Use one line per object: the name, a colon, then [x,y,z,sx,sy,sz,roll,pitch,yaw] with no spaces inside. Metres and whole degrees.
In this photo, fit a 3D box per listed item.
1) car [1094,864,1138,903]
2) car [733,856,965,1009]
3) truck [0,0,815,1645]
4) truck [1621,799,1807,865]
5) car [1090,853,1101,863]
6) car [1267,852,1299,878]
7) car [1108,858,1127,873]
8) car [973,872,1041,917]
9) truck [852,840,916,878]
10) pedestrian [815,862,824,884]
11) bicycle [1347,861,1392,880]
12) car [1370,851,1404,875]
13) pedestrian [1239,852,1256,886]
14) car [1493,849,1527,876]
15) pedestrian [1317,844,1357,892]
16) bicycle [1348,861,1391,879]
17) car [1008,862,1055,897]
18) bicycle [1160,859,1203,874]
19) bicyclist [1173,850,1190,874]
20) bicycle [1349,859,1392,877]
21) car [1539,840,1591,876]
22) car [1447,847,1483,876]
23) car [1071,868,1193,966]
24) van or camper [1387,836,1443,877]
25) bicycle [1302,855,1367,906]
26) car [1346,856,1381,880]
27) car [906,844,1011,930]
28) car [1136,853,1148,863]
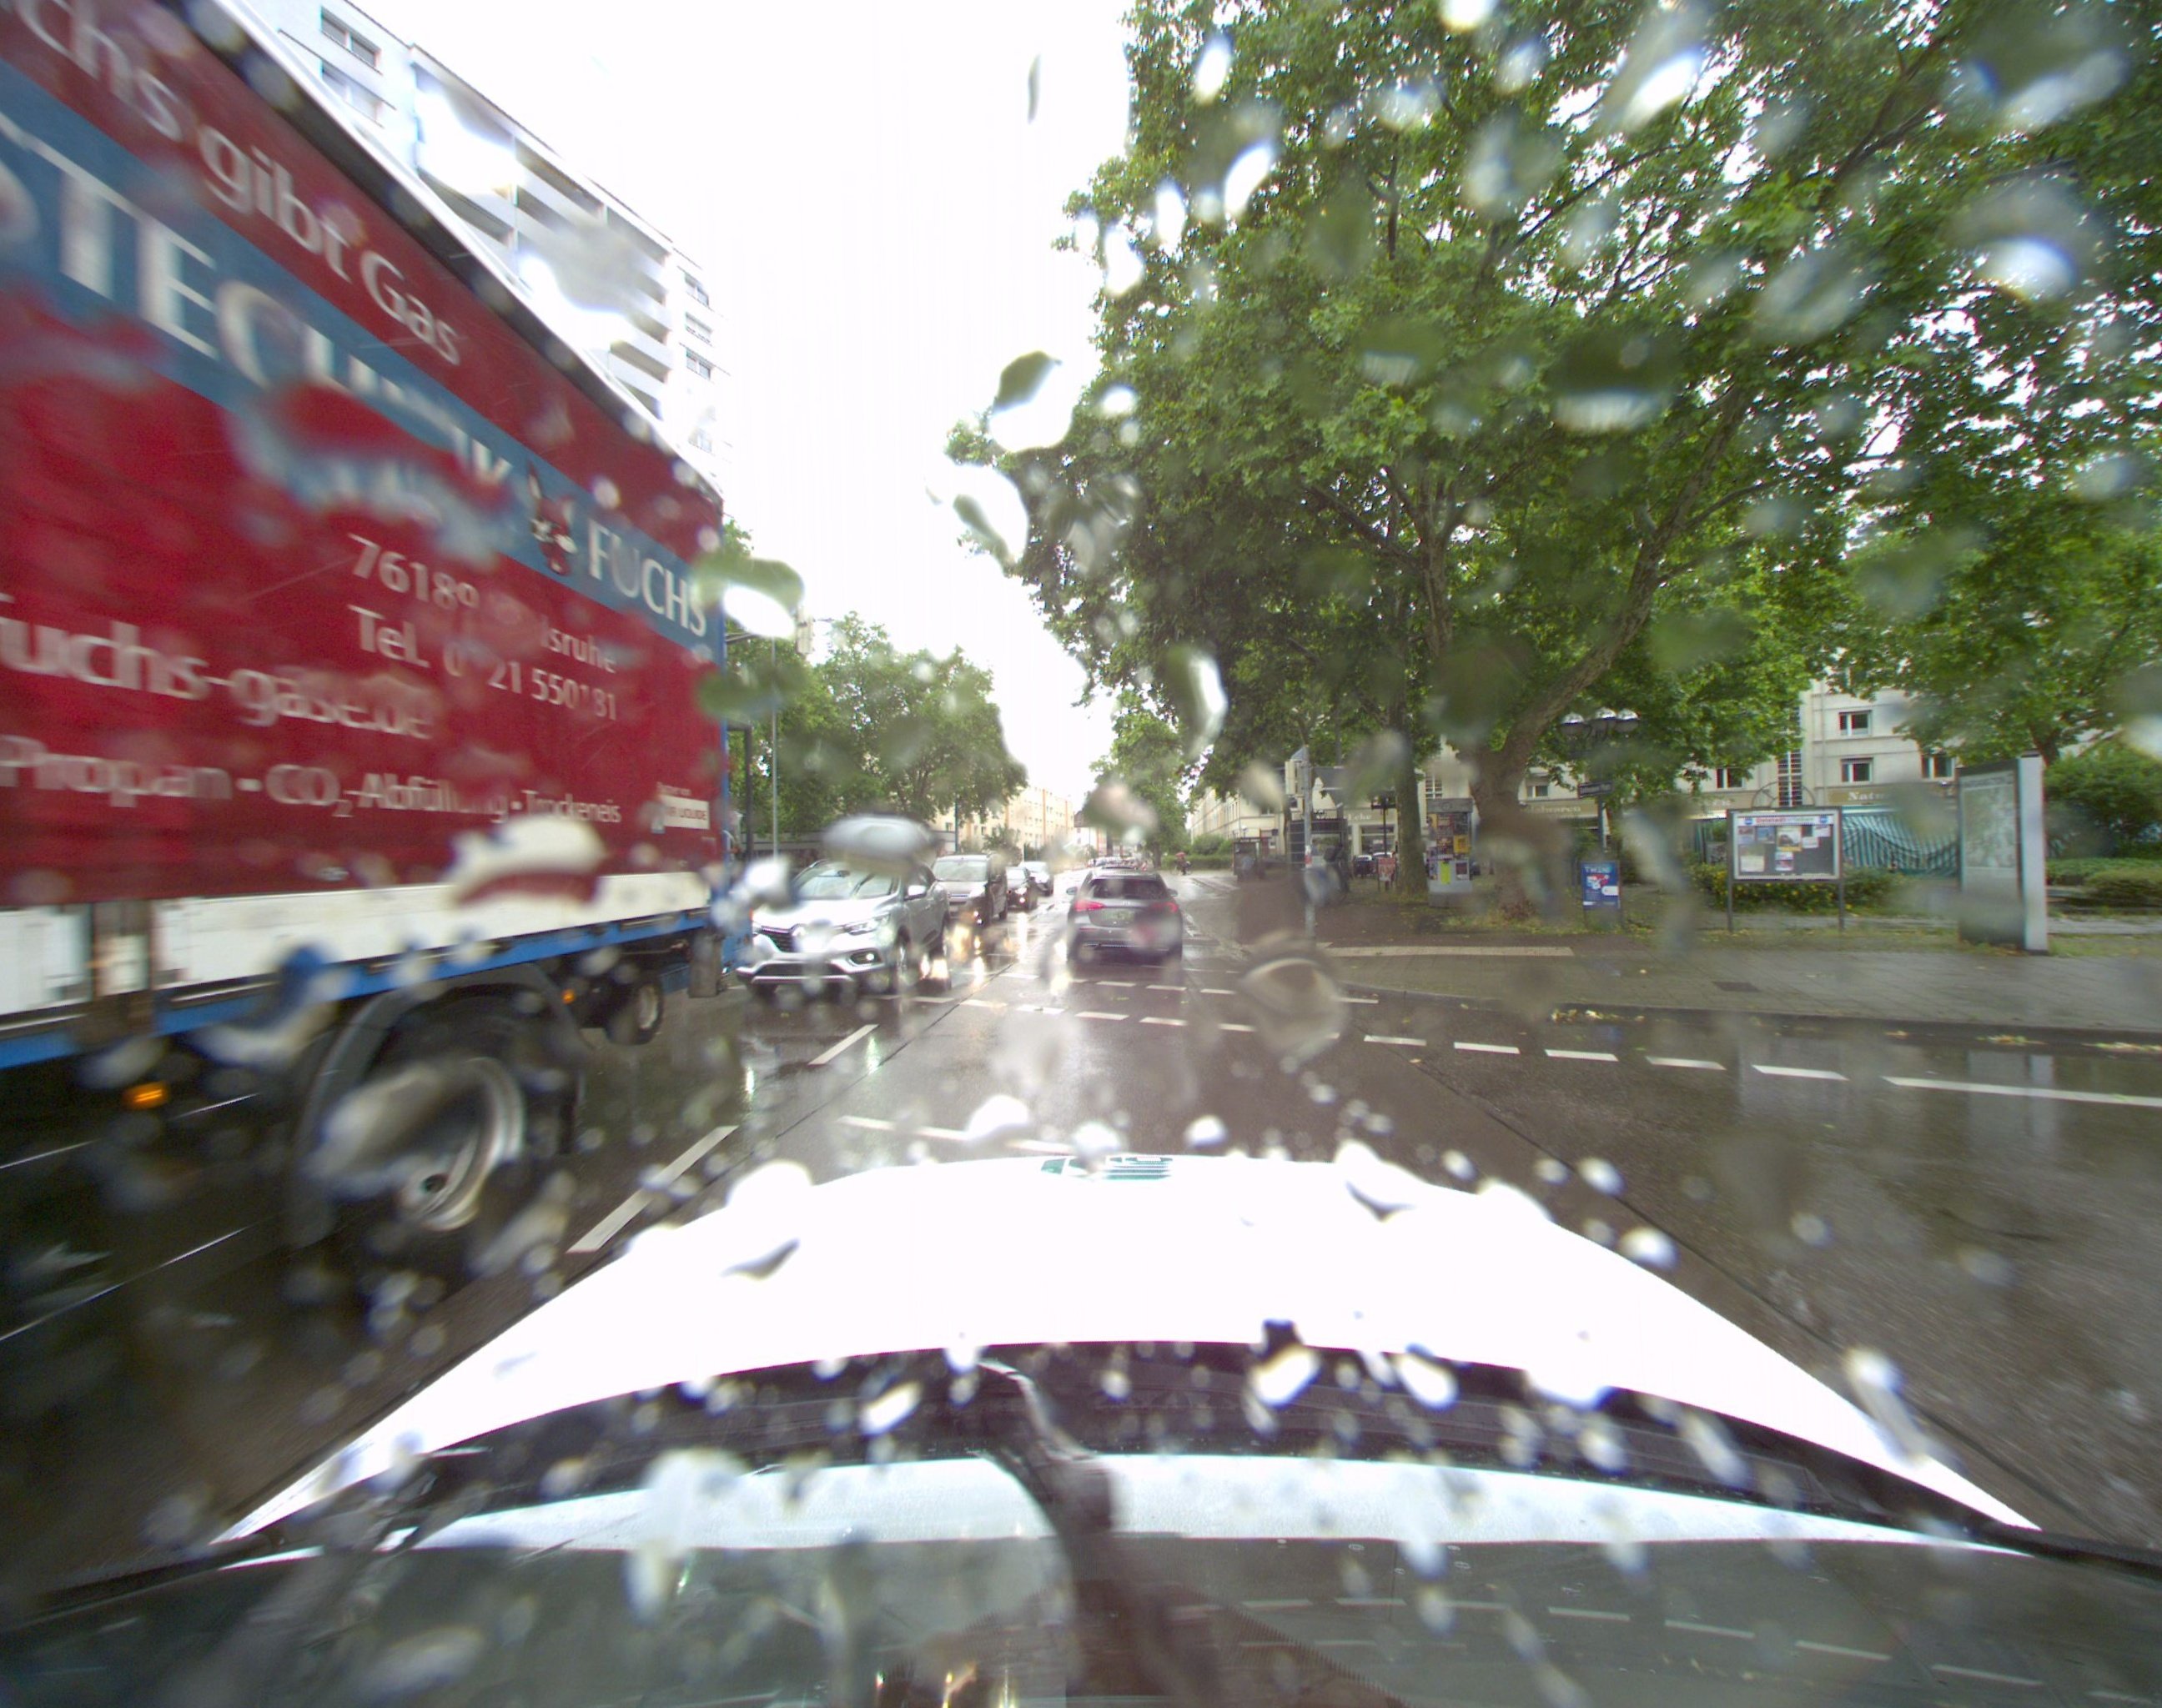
car: [1.382,1.123,32.611,1.601,1.372,4.002,-2,0,2]
car: [-2.790,0.860,10.776,1.735,1.604,4.002,-2,0,2]
truck: [-3.535,-0.468,0.933,2.836,4.025,10.316,-2,0,0]
truck: [28.773,-0.934,37.356,6.323,2.699,2.280,-2,-1,23]
car: [2.989,0.826,167.610,1.880,1.836,4.006,-2,-1,6]
car: [12.736,0.714,51.294,1.675,1.551,3.538,-2,-3,17]
car: [4.039,1.327,91.590,1.987,1.574,4.000,-2,-1,1]
car: [-2.451,1.333,27.904,1.735,1.390,4.364,0,-1,2]
truck: [-19.691,0.504,81.515,5.653,3.645,2.179,-2,-1,6]
pedestrian: [-20.151,1.452,62.741,0.570,1.629,0.638,-1,-1,-13]
bicycle: [15.891,0.895,44.886,2.260,0.983,0.548,-2,-1,25]
car: [22.408,0.603,59.556,1.976,1.628,4.657,1,1,24]
pedestrian: [8.408,0.750,41.196,0.713,1.669,0.666,-1,-1,4]
car: [24.676,0.501,46.851,1.663,1.432,3.758,-2,-3,28]
pedestrian: [7.723,0.413,24.531,0.737,1.398,1.053,-3,-1,42]
bicycle: [16.134,0.888,45.566,2.231,0.968,0.537,-2,-1,25]
car: [-2.267,1.141,38.052,1.839,1.510,4.056,-2,0,1]
bicycle: [8.074,1.013,65.333,3.213,1.112,1.048,-2,-2,-17]
bicyclist: [8.066,0.634,65.288,0.940,1.868,1.136,-2,-1,-17]
bicycle: [16.458,0.816,46.249,2.226,0.968,0.588,-2,-1,25]
car: [26.708,0.277,45.069,2.135,1.838,4.023,-2,-3,26]
car: [22.171,0.416,47.093,1.665,1.575,3.756,-2,-1,22]
car: [0.808,0.948,13.678,1.784,1.372,3.508,0,0,2]
van or camper: [19.932,0.144,48.473,2.373,2.231,5.463,-2,-1,29]
bicycle: [7.649,0.767,24.432,0.742,1.377,2.724,-3,0,42]
car: [17.159,0.874,49.419,1.568,1.336,3.280,-2,-3,26]
car: [-2.922,0.750,20.336,1.799,1.861,4.111,-2,0,2]
car: [12.012,0.794,159.729,2.036,1.836,4.799,-2,-1,6]
